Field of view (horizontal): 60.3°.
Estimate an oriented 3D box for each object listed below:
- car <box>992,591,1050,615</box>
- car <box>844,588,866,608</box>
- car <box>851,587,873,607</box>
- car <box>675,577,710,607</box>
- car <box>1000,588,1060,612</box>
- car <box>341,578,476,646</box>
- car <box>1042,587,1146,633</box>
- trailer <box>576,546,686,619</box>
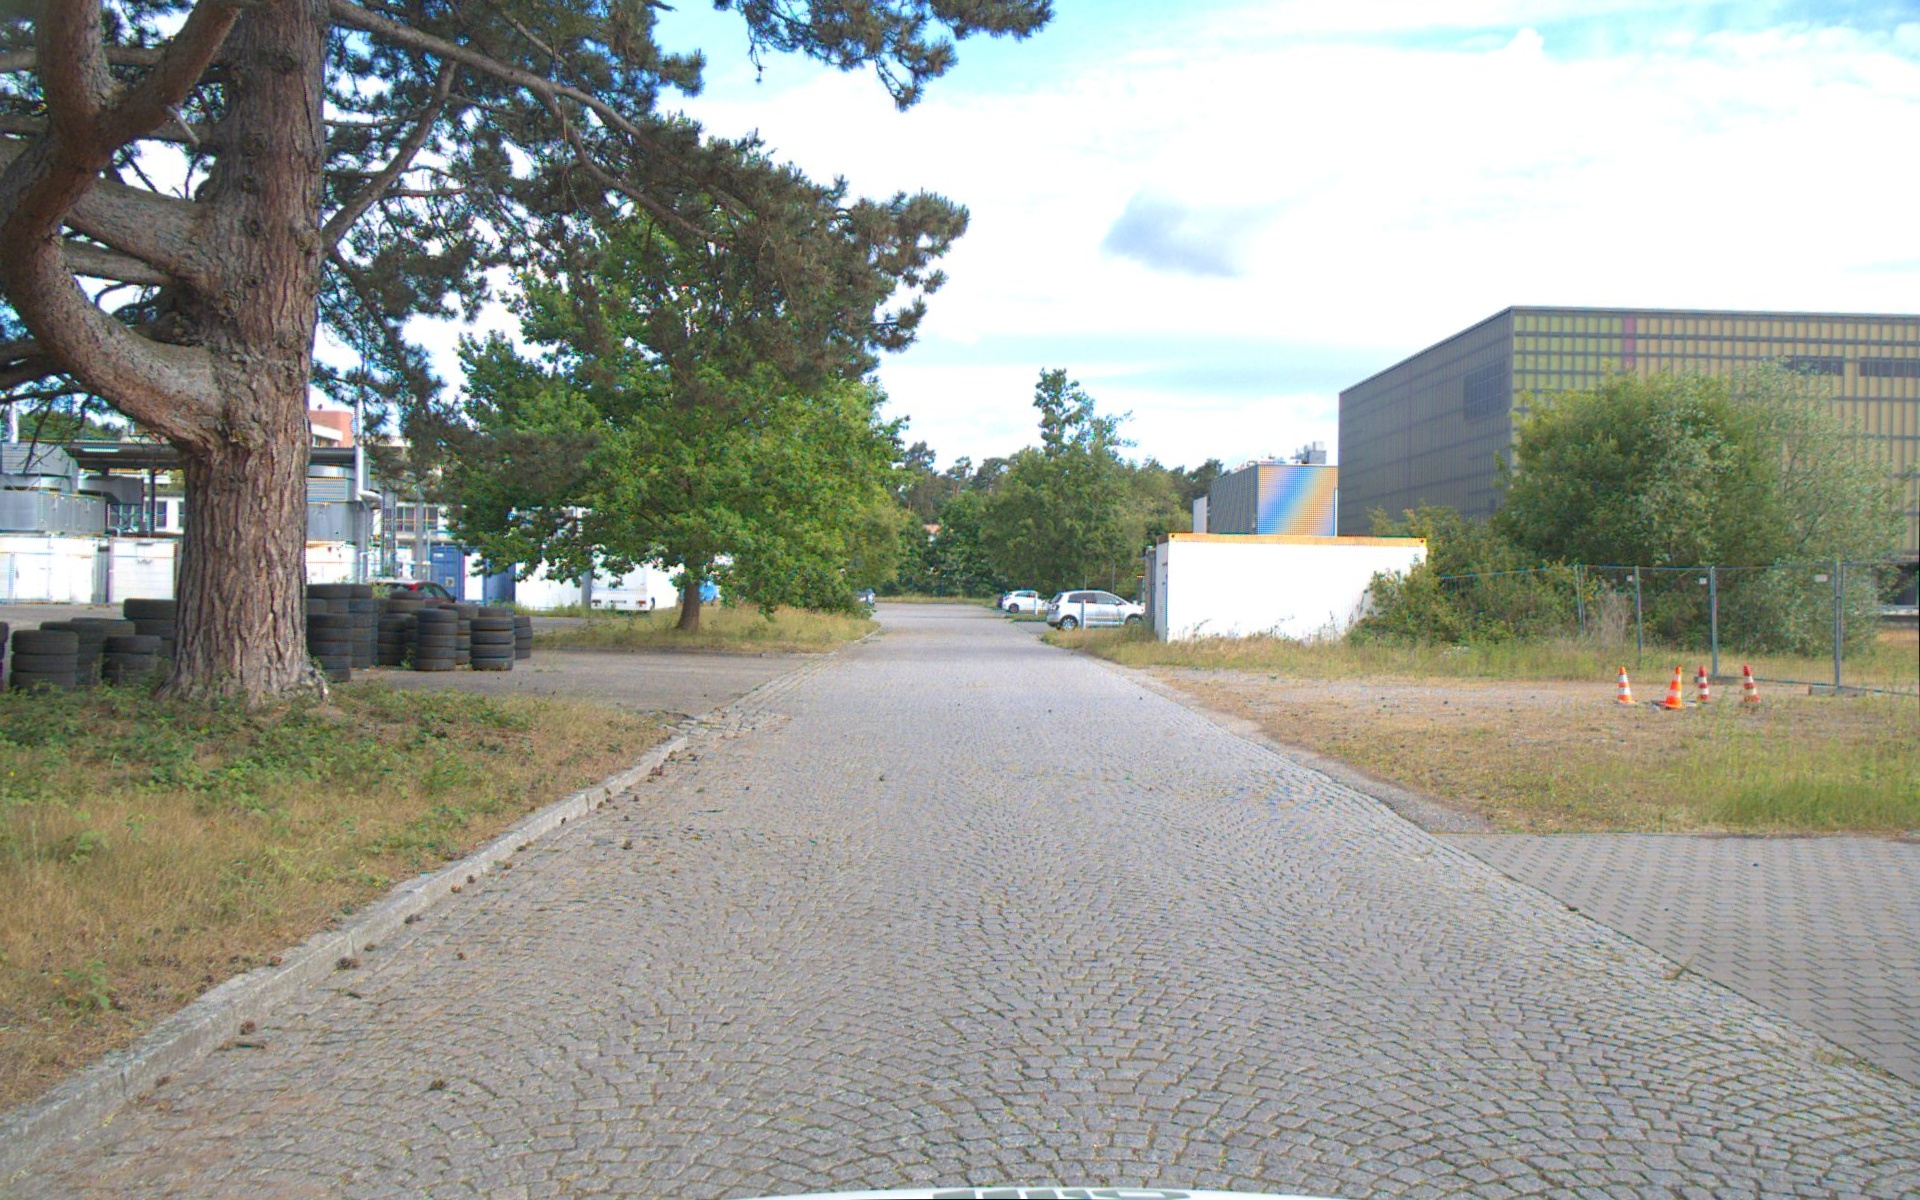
[{"bbox_3d":[4.234,0.195,115.302,3.908,1.629,1.728,1,0,-4],"label":"car"},{"bbox_3d":[-8.143,-0.188,128.559,1.700,1.495,4.043,1,0,-3],"label":"car"},{"bbox_3d":[-8.177,-0.250,137.916,1.768,1.561,3.998,1,0,-3],"label":"car"},{"bbox_3d":[-18.831,-0.566,116.503,1.887,2.083,4.597,1,0,-3],"label":"car"},{"bbox_3d":[4.641,-0.008,109.755,3.943,1.528,1.548,1,0,0],"label":"car"},{"bbox_3d":[-12.754,0.263,38.478,1.729,1.478,3.490,1,0,5],"label":"car"},{"bbox_3d":[5.147,0.390,63.612,3.773,1.683,1.685,1,0,-4],"label":"car"},{"bbox_3d":[-14.958,-0.794,75.886,3.093,3.121,8.785,1,0,1],"label":"trailer"}]
